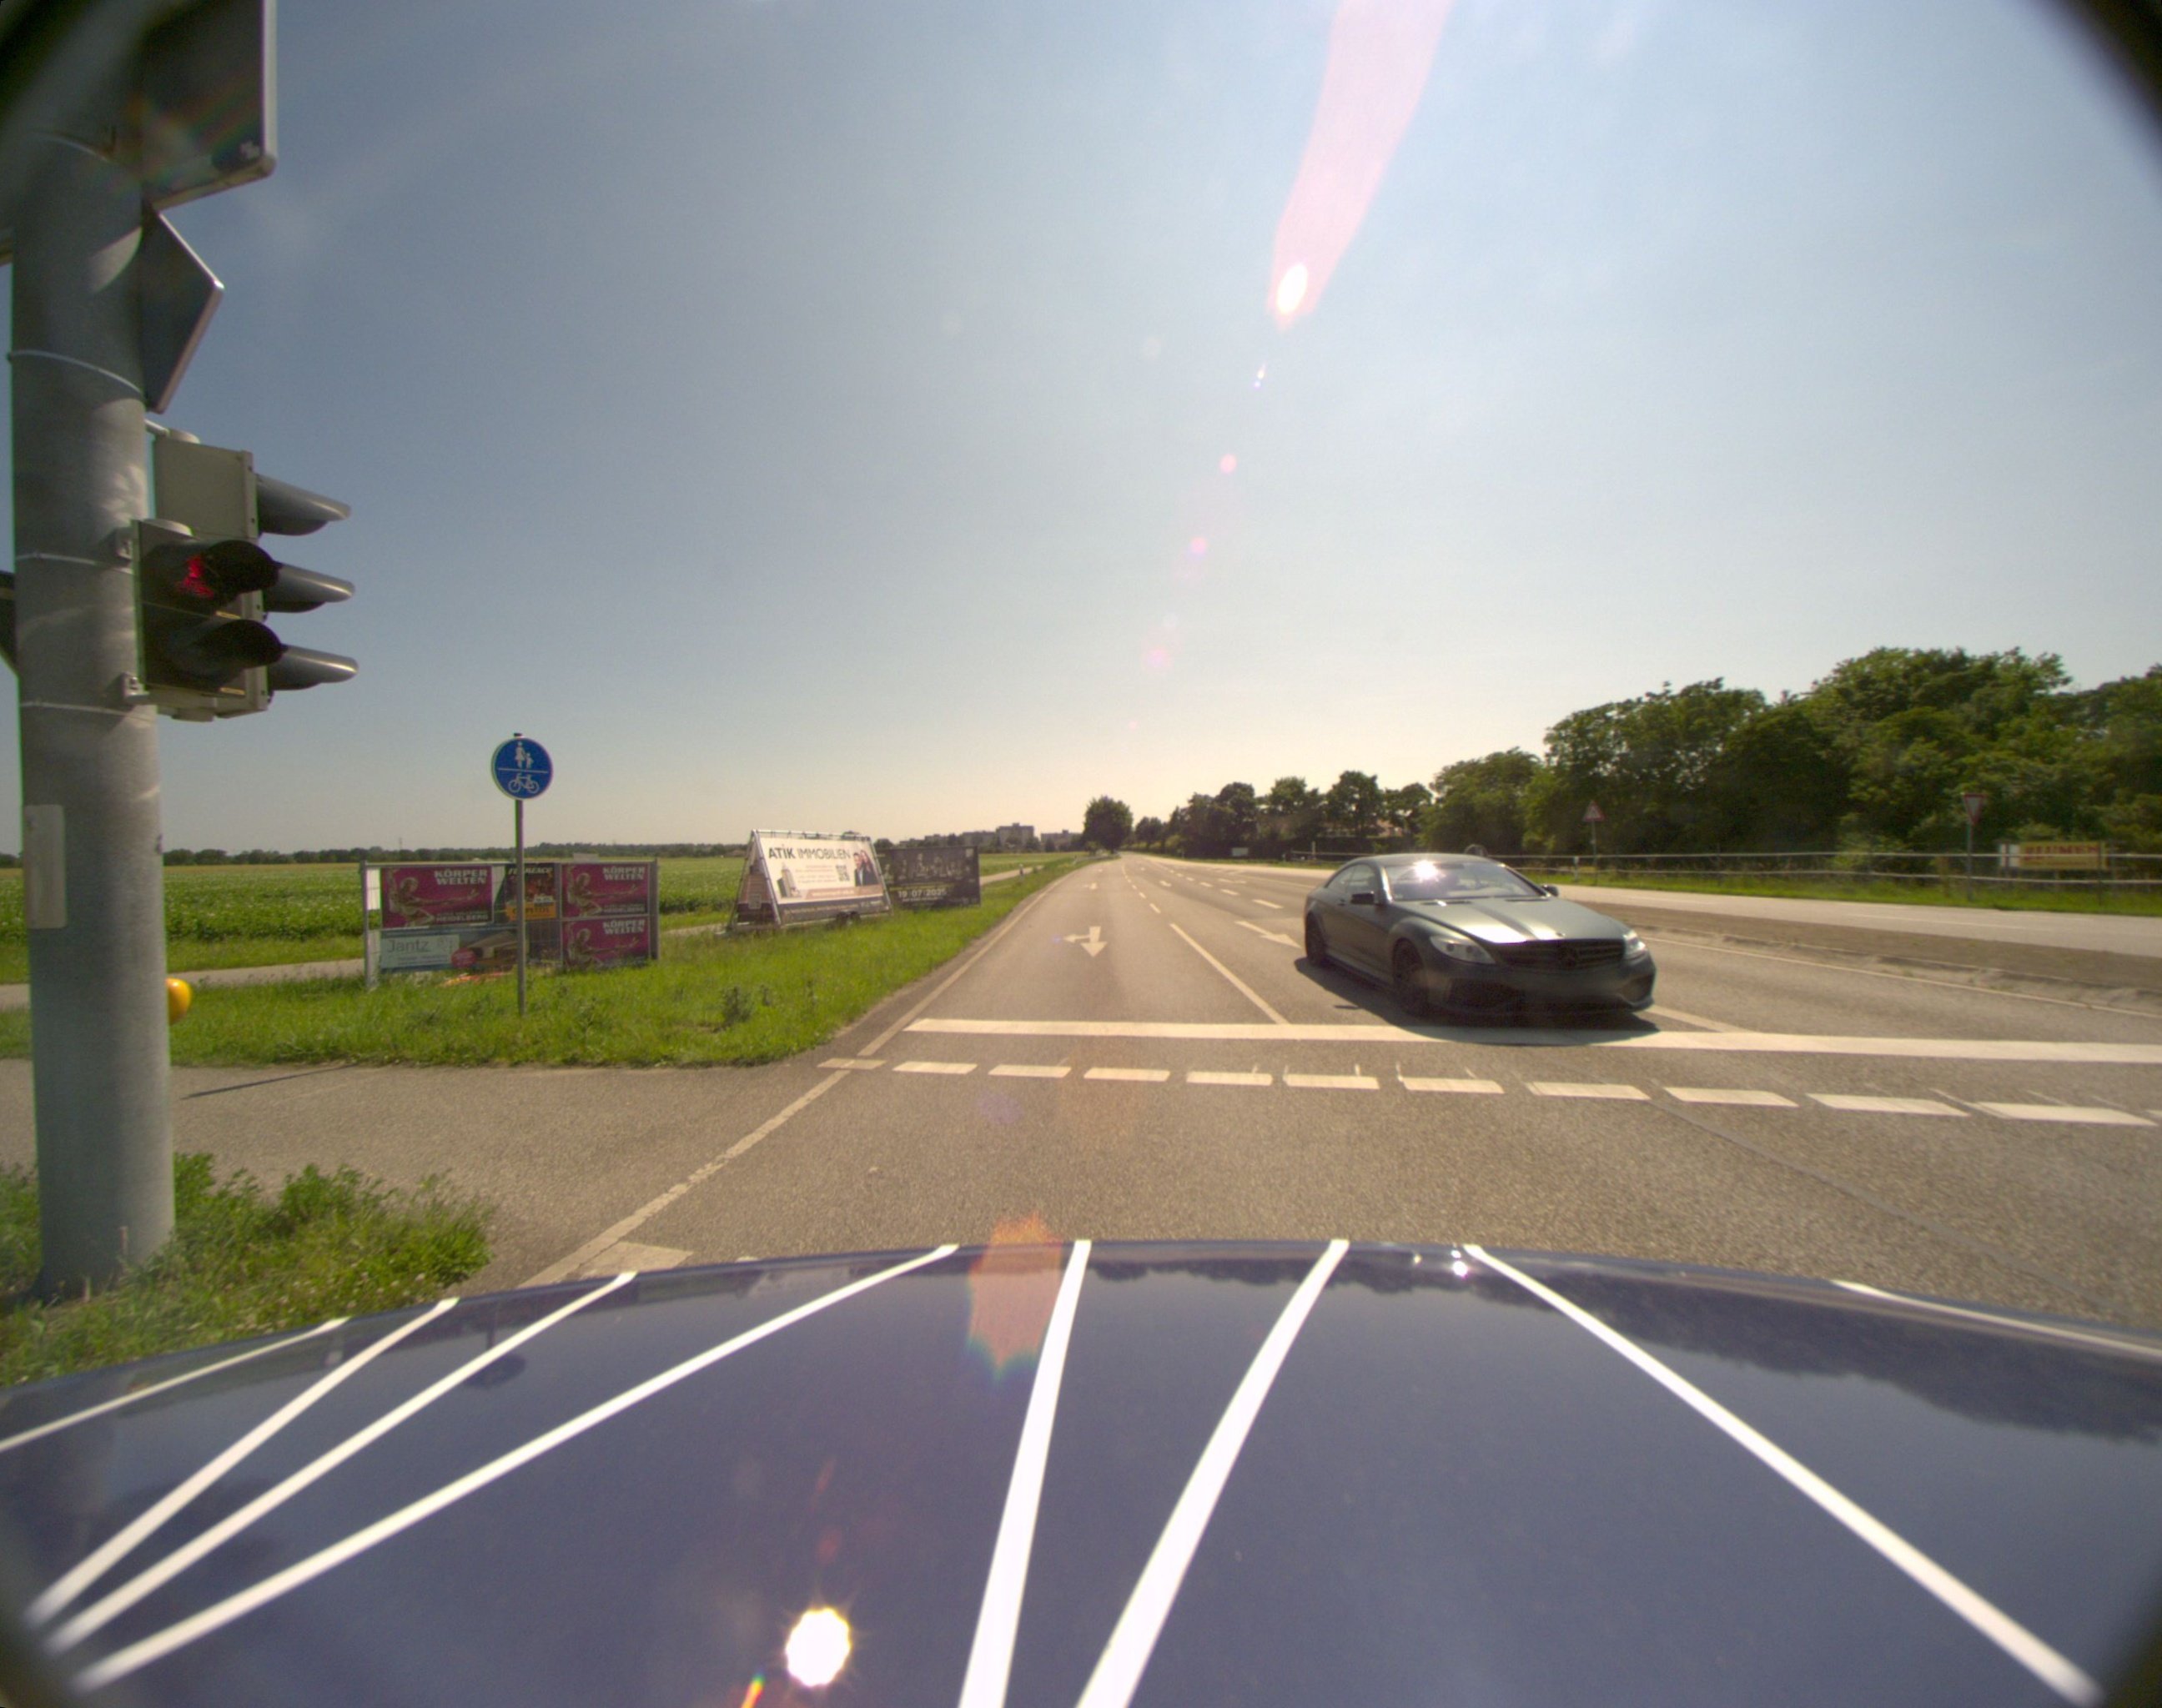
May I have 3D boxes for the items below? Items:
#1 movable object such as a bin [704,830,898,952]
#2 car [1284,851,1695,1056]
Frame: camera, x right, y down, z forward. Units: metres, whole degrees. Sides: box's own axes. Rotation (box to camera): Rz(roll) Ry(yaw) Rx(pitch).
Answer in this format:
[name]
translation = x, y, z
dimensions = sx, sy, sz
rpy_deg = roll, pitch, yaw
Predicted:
[movable object such as a bin]
translation = -6.113, 0.697, 17.225
dimensions = 1.523, 2.349, 4.429
rpy_deg = -2, 2, 19
[car]
translation = 3.751, 0.746, 8.191
dimensions = 1.815, 1.441, 4.876
rpy_deg = -2, 1, 1
